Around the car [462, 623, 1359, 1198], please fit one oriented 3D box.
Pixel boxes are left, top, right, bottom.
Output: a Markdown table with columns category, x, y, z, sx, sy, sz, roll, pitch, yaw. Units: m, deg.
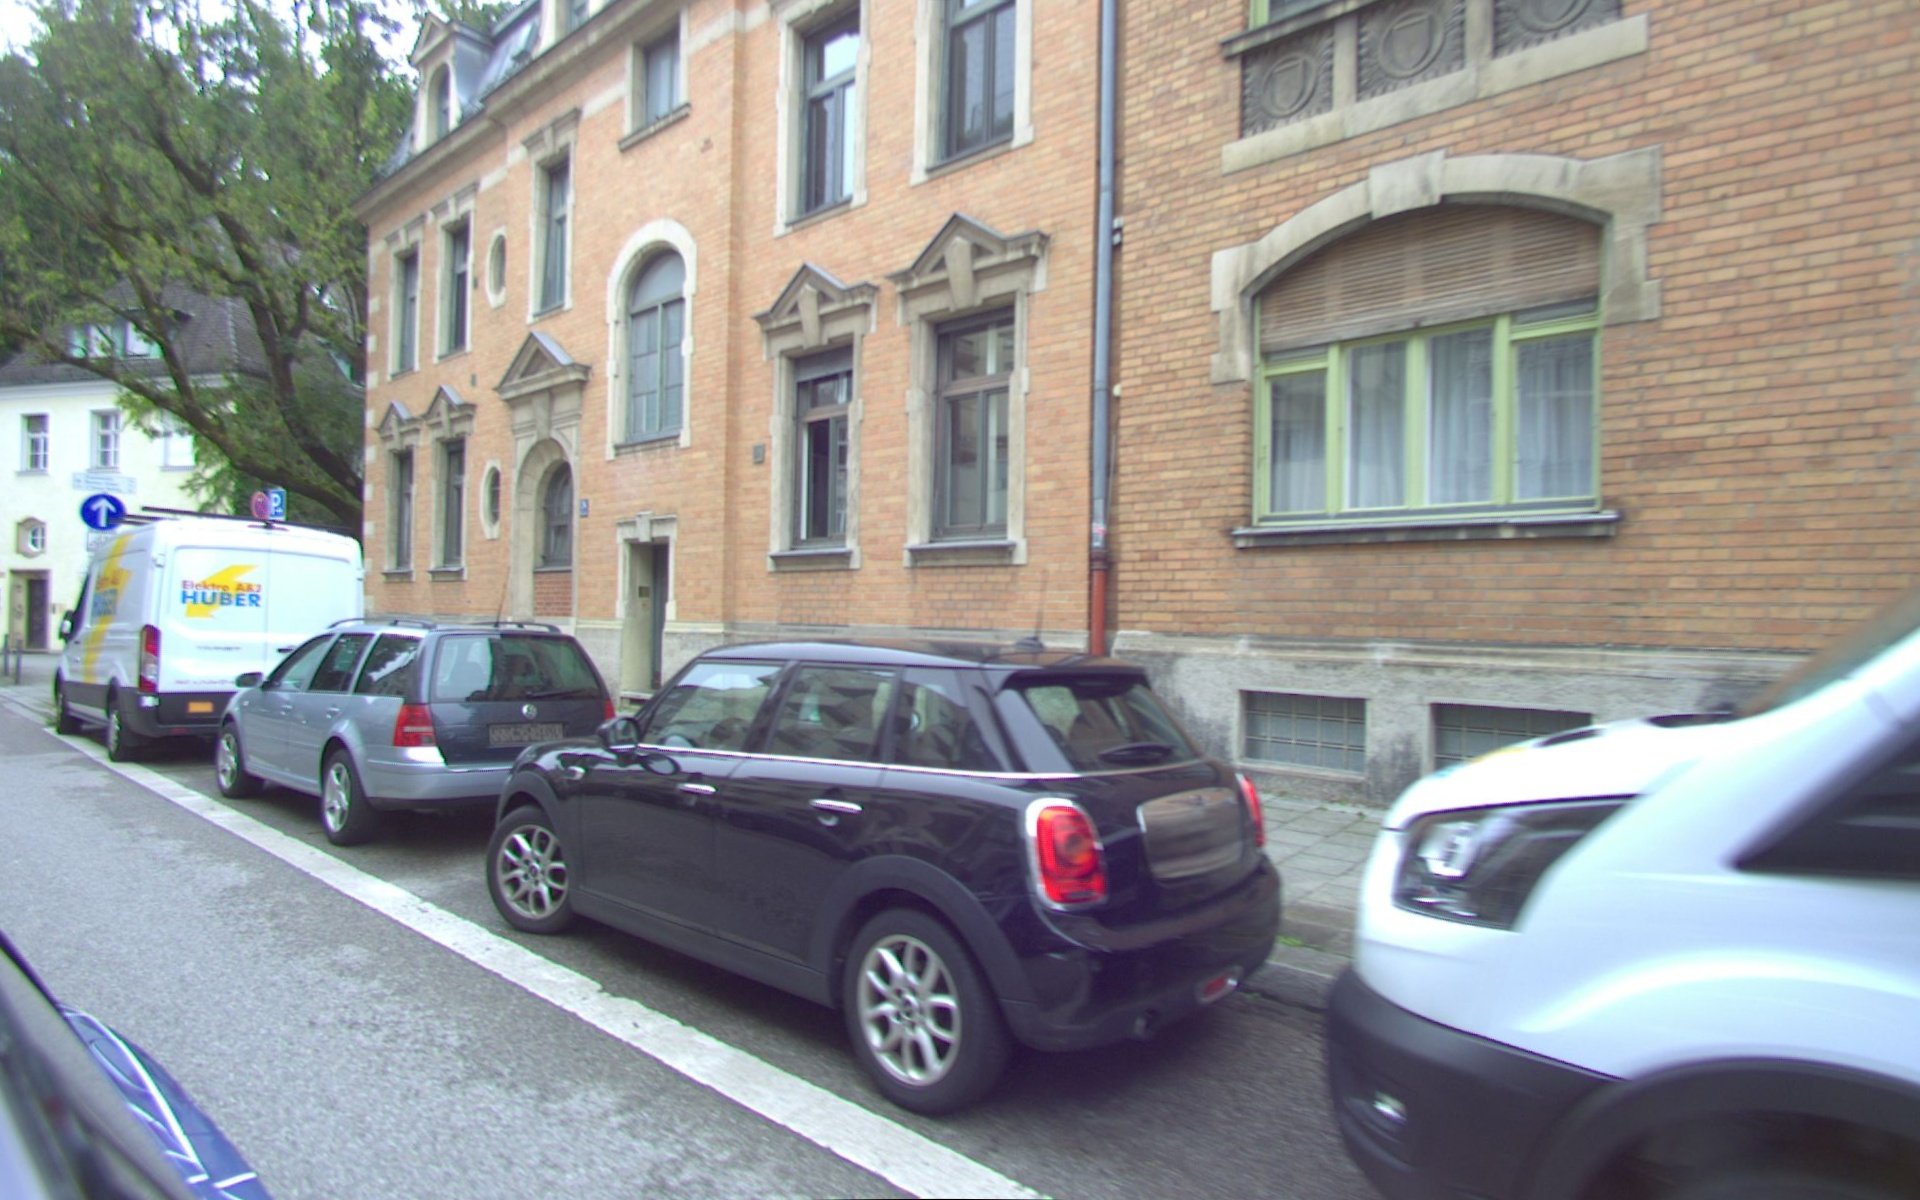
| category | x | y | z | sx | sy | sz | roll | pitch | yaw |
| --- | --- | --- | --- | --- | --- | --- | --- | --- | --- |
| car | -0.452 | 0.841 | 4.474 | 3.790 | 1.426 | 1.747 | -1 | -2 | 40 |

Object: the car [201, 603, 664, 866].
| category | x | y | z | sx | sy | sz | roll | pitch | yaw |
| --- | --- | --- | --- | --- | --- | --- | --- | --- | --- |
| car | -4.231 | 0.823 | 7.844 | 4.077 | 1.512 | 1.747 | -1 | -2 | 40 |

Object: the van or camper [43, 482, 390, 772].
| category | x | y | z | sx | sy | sz | roll | pitch | yaw |
| --- | --- | --- | --- | --- | --- | --- | --- | --- | --- |
| van or camper | -8.779 | 0.306 | 11.774 | 4.954 | 2.682 | 2.089 | -1 | -2 | 40 |

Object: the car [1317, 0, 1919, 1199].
| category | x | y | z | sx | sy | sz | roll | pitch | yaw |
| --- | --- | --- | --- | --- | --- | --- | --- | --- | --- |
| car | 3.328 | 0.359 | 1.015 | 5.227 | 2.495 | 2.090 | -1 | -2 | 40 |
